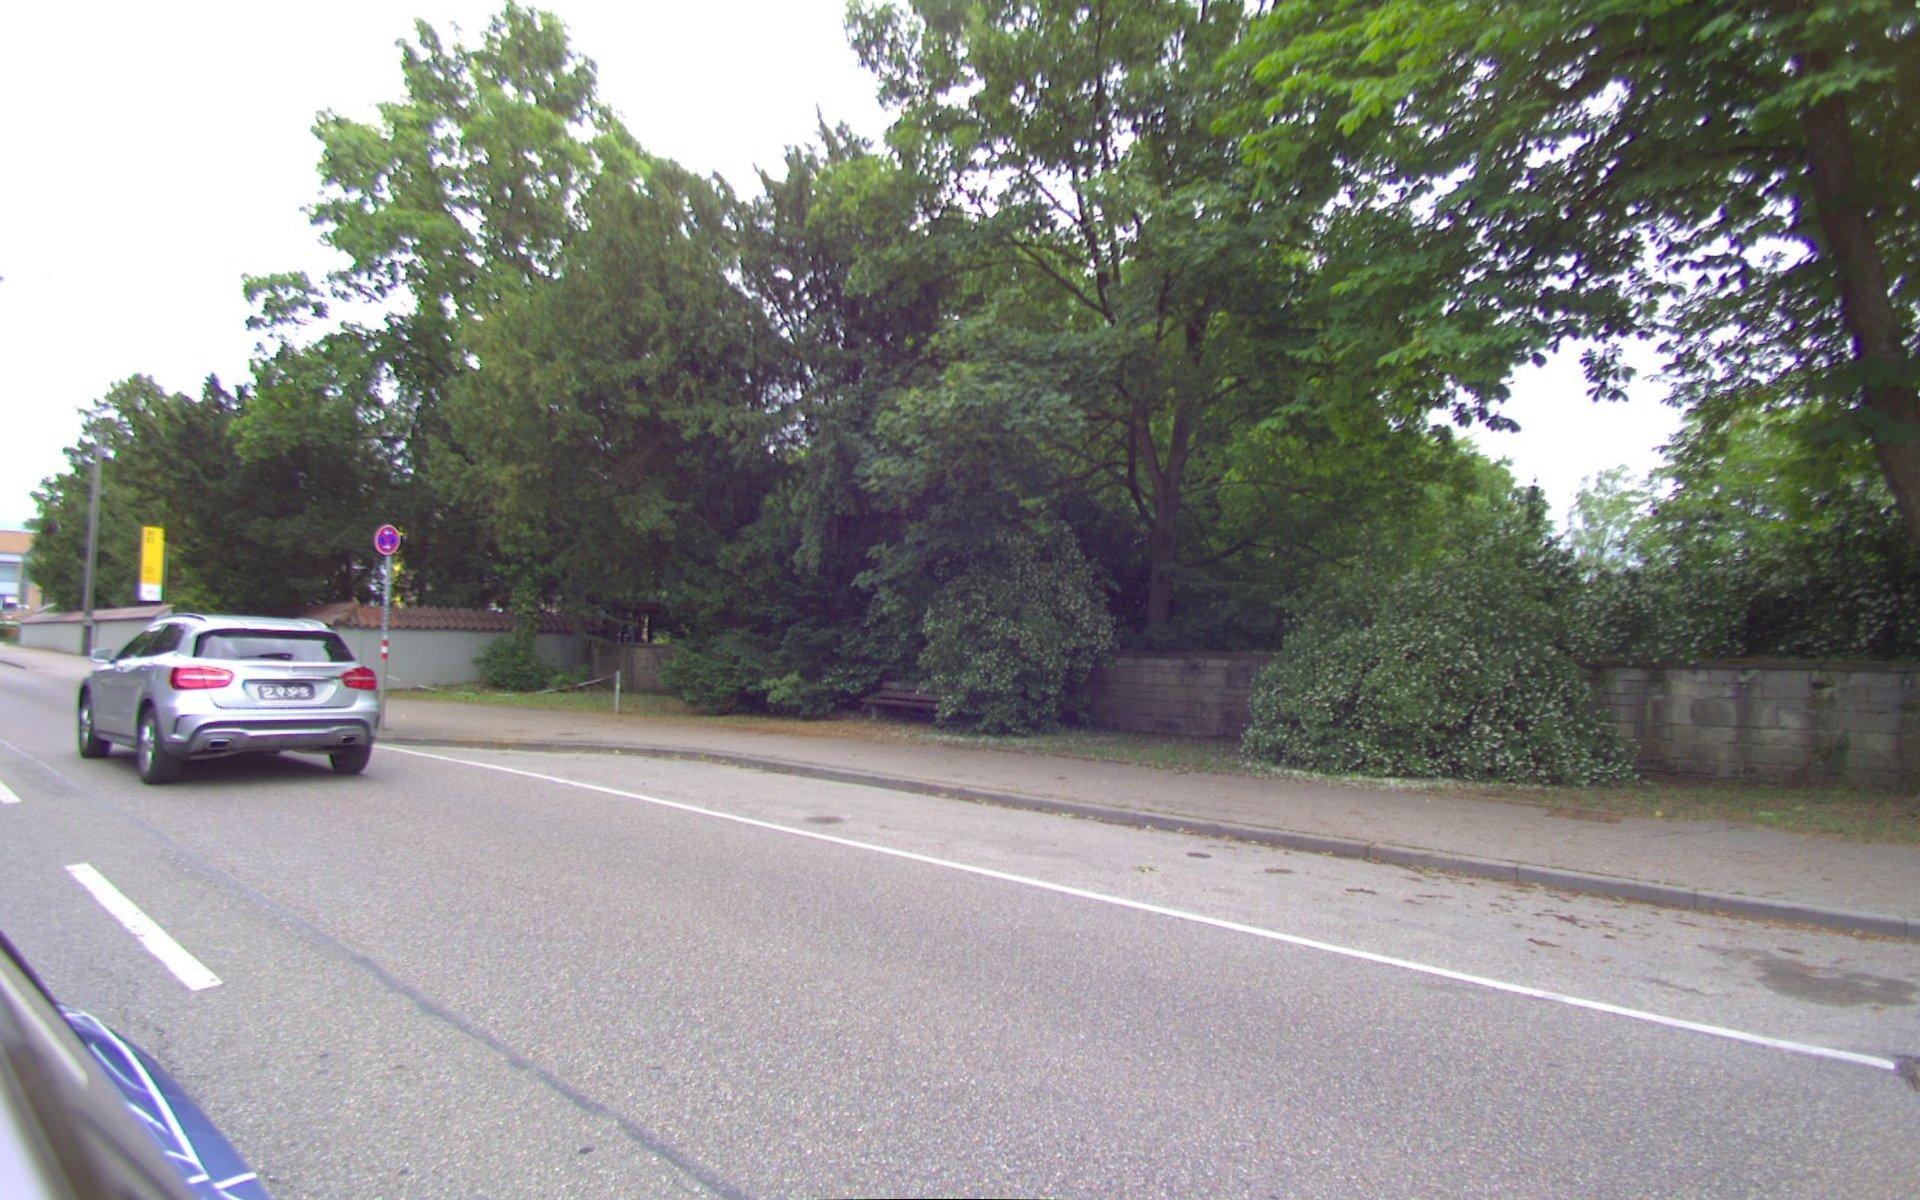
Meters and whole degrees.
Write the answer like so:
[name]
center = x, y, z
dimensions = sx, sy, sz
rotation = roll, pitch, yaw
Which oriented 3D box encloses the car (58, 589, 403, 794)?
[car]
center = -7.504, 0.843, 10.280
dimensions = 4.117, 1.666, 1.767
rotation = -1, -5, 40
